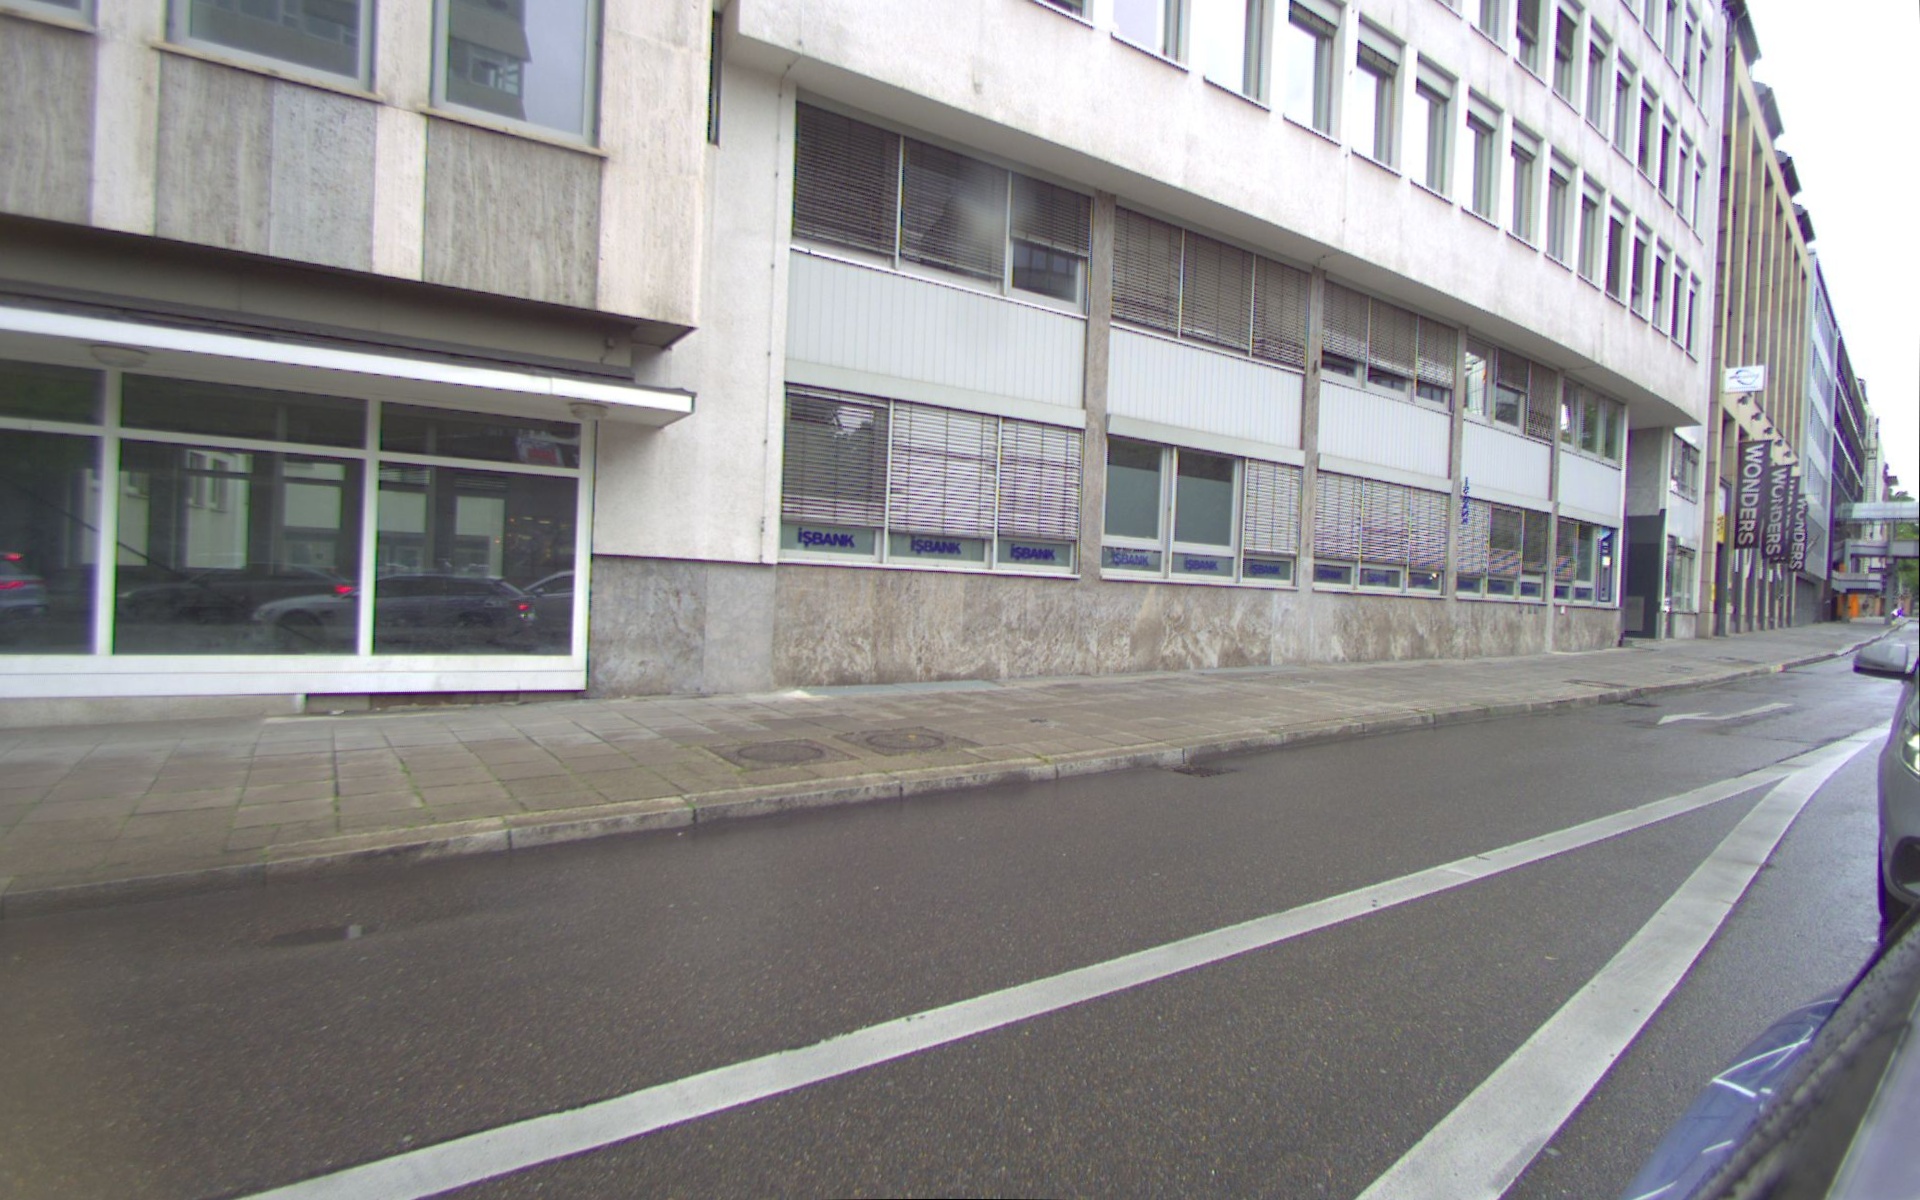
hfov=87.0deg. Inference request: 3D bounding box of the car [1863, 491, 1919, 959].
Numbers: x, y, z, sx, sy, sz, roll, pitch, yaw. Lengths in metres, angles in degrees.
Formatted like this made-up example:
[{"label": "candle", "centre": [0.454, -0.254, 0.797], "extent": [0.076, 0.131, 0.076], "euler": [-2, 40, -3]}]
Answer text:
[{"label": "car", "centre": [6.201, 0.516, 5.135], "extent": [4.940, 1.879, 1.914], "euler": [0, 0, -42]}]
